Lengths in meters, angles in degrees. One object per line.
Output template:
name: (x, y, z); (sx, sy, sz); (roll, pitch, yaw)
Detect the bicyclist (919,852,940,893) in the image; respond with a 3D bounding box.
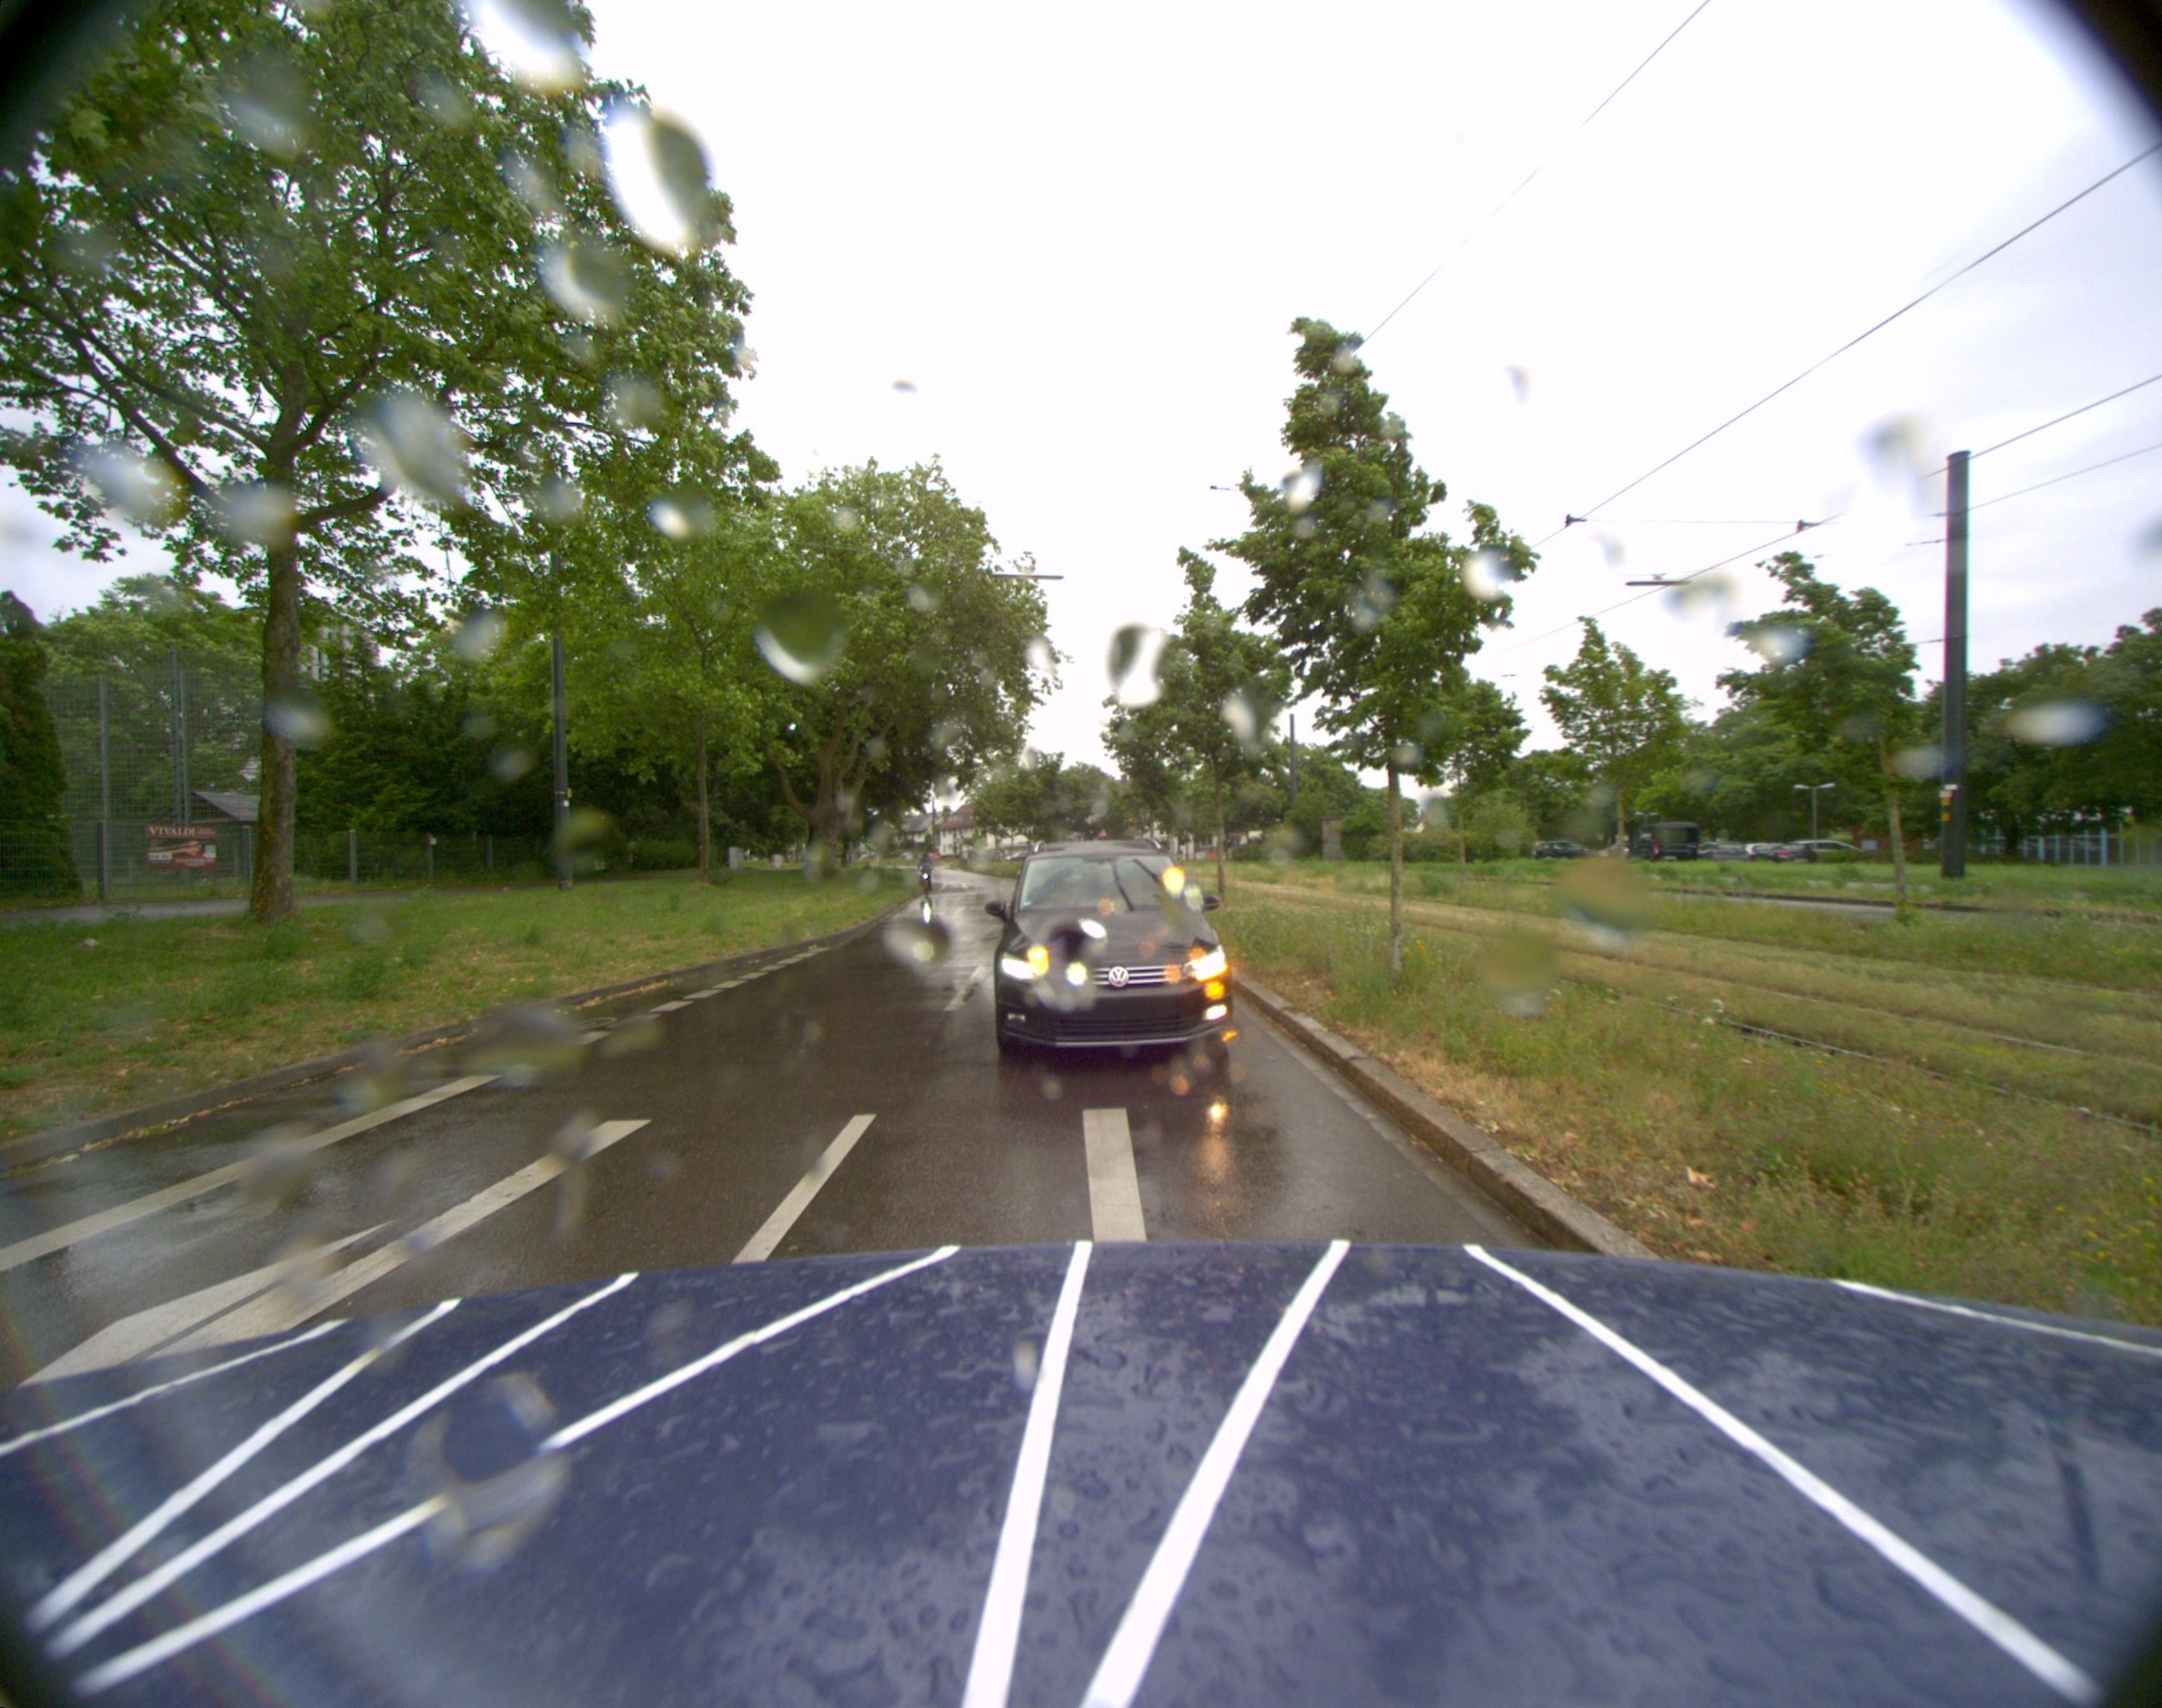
bicyclist: (-5.764, 0.694, 28.950); (0.693, 1.497, 0.843); (-2, 2, -8)

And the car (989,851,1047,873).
car: (-4.643, 0.567, 55.534); (4.046, 1.412, 1.674); (-2, 1, -10)

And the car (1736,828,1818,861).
car: (36.587, -0.541, 40.088); (2.057, 1.564, 5.024); (-2, 1, 29)

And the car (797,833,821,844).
car: (-51.578, -2.968, 143.970); (4.004, 1.816, 1.996); (-3, 1, -24)

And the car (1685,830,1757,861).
car: (34.645, -0.481, 41.271); (1.752, 1.522, 4.856); (-2, 1, 24)

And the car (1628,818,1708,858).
car: (32.003, -0.877, 41.588); (2.307, 2.002, 5.125); (-2, 1, 24)

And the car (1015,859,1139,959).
car: (-0.126, 0.828, 13.320); (1.788, 1.355, 3.996); (-2, 1, -2)

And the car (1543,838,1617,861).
car: (35.120, -0.296, 53.620); (4.172, 1.474, 1.786); (-2, 1, 27)

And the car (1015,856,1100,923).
car: (-0.691, 0.796, 19.046); (1.789, 1.396, 3.791); (-2, 1, -6)

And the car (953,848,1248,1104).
car: (0.154, 0.784, 7.218); (1.866, 1.592, 4.524); (-2, 1, 1)

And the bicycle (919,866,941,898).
bicycle: (-5.755, 1.042, 28.964); (0.693, 1.110, 1.883); (-2, 1, -8)
